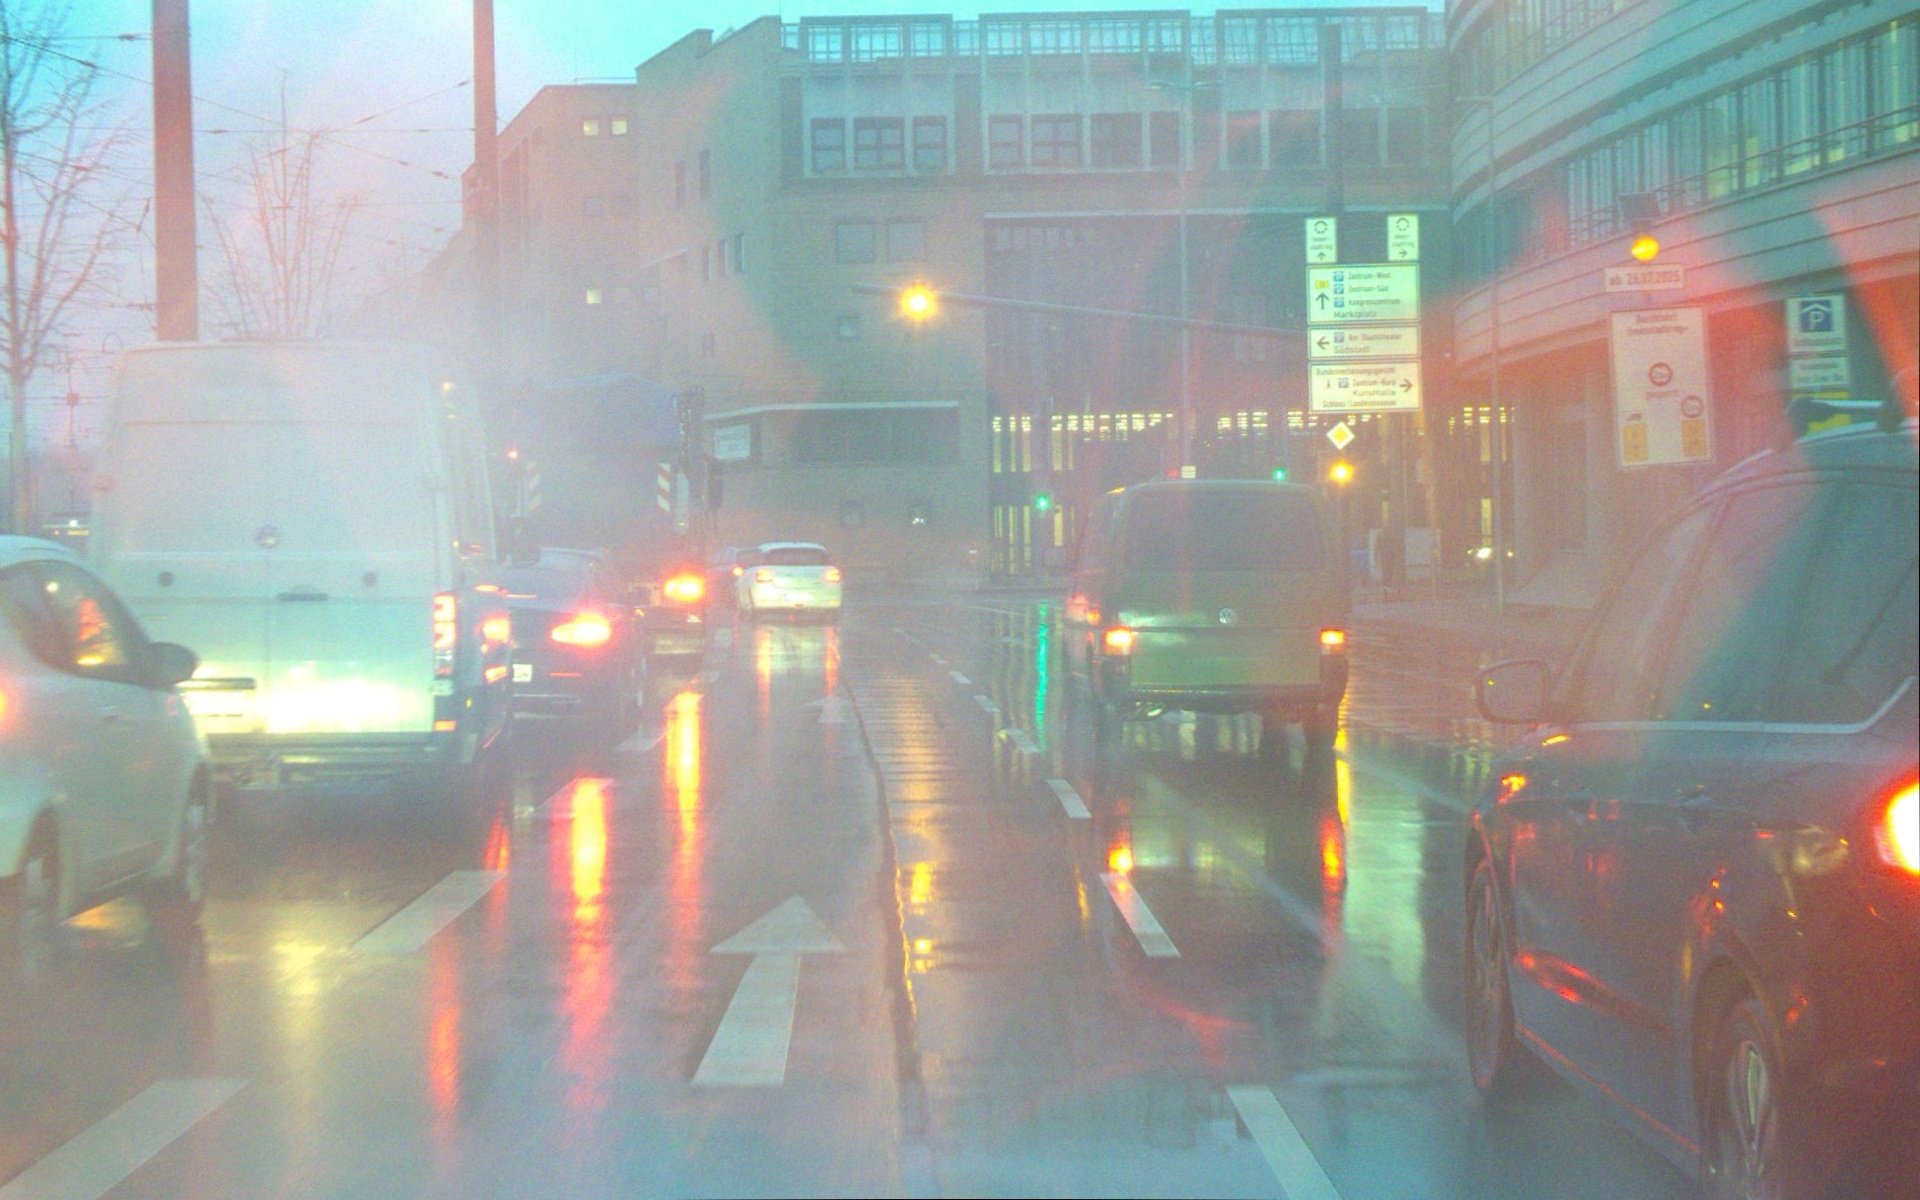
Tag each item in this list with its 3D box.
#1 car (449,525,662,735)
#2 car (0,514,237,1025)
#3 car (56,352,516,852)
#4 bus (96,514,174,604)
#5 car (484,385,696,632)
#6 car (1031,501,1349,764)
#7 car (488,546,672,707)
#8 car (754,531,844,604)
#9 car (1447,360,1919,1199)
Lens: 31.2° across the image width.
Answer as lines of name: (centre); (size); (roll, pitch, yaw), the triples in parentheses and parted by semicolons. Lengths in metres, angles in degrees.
car: (-3.109, 0.213, 26.889); (1.517, 1.515, 3.471); (-1, 0, -5)
car: (-3.634, 0.465, 11.867); (1.638, 1.491, 3.686); (-1, 2, -3)
car: (-3.684, -0.043, 19.842); (1.993, 2.419, 5.975); (-1, 1, -6)
bus: (-32.260, -1.598, 134.215); (2.822, 3.361, 8.002); (-1, 1, -14)
car: (-4.506, -1.096, 42.841); (2.354, 2.817, 6.360); (-1, 1, -4)
car: (1.642, 0.185, 26.069); (1.843, 1.800, 4.487); (-1, 1, -3)
car: (-3.739, 0.217, 34.329); (1.704, 1.503, 4.001); (0, 1, -5)
car: (-2.983, -0.625, 64.123); (1.511, 1.301, 3.041); (-1, 1, 0)
car: (2.182, 0.485, 7.391); (1.674, 1.773, 4.000); (1, 1, 0)
